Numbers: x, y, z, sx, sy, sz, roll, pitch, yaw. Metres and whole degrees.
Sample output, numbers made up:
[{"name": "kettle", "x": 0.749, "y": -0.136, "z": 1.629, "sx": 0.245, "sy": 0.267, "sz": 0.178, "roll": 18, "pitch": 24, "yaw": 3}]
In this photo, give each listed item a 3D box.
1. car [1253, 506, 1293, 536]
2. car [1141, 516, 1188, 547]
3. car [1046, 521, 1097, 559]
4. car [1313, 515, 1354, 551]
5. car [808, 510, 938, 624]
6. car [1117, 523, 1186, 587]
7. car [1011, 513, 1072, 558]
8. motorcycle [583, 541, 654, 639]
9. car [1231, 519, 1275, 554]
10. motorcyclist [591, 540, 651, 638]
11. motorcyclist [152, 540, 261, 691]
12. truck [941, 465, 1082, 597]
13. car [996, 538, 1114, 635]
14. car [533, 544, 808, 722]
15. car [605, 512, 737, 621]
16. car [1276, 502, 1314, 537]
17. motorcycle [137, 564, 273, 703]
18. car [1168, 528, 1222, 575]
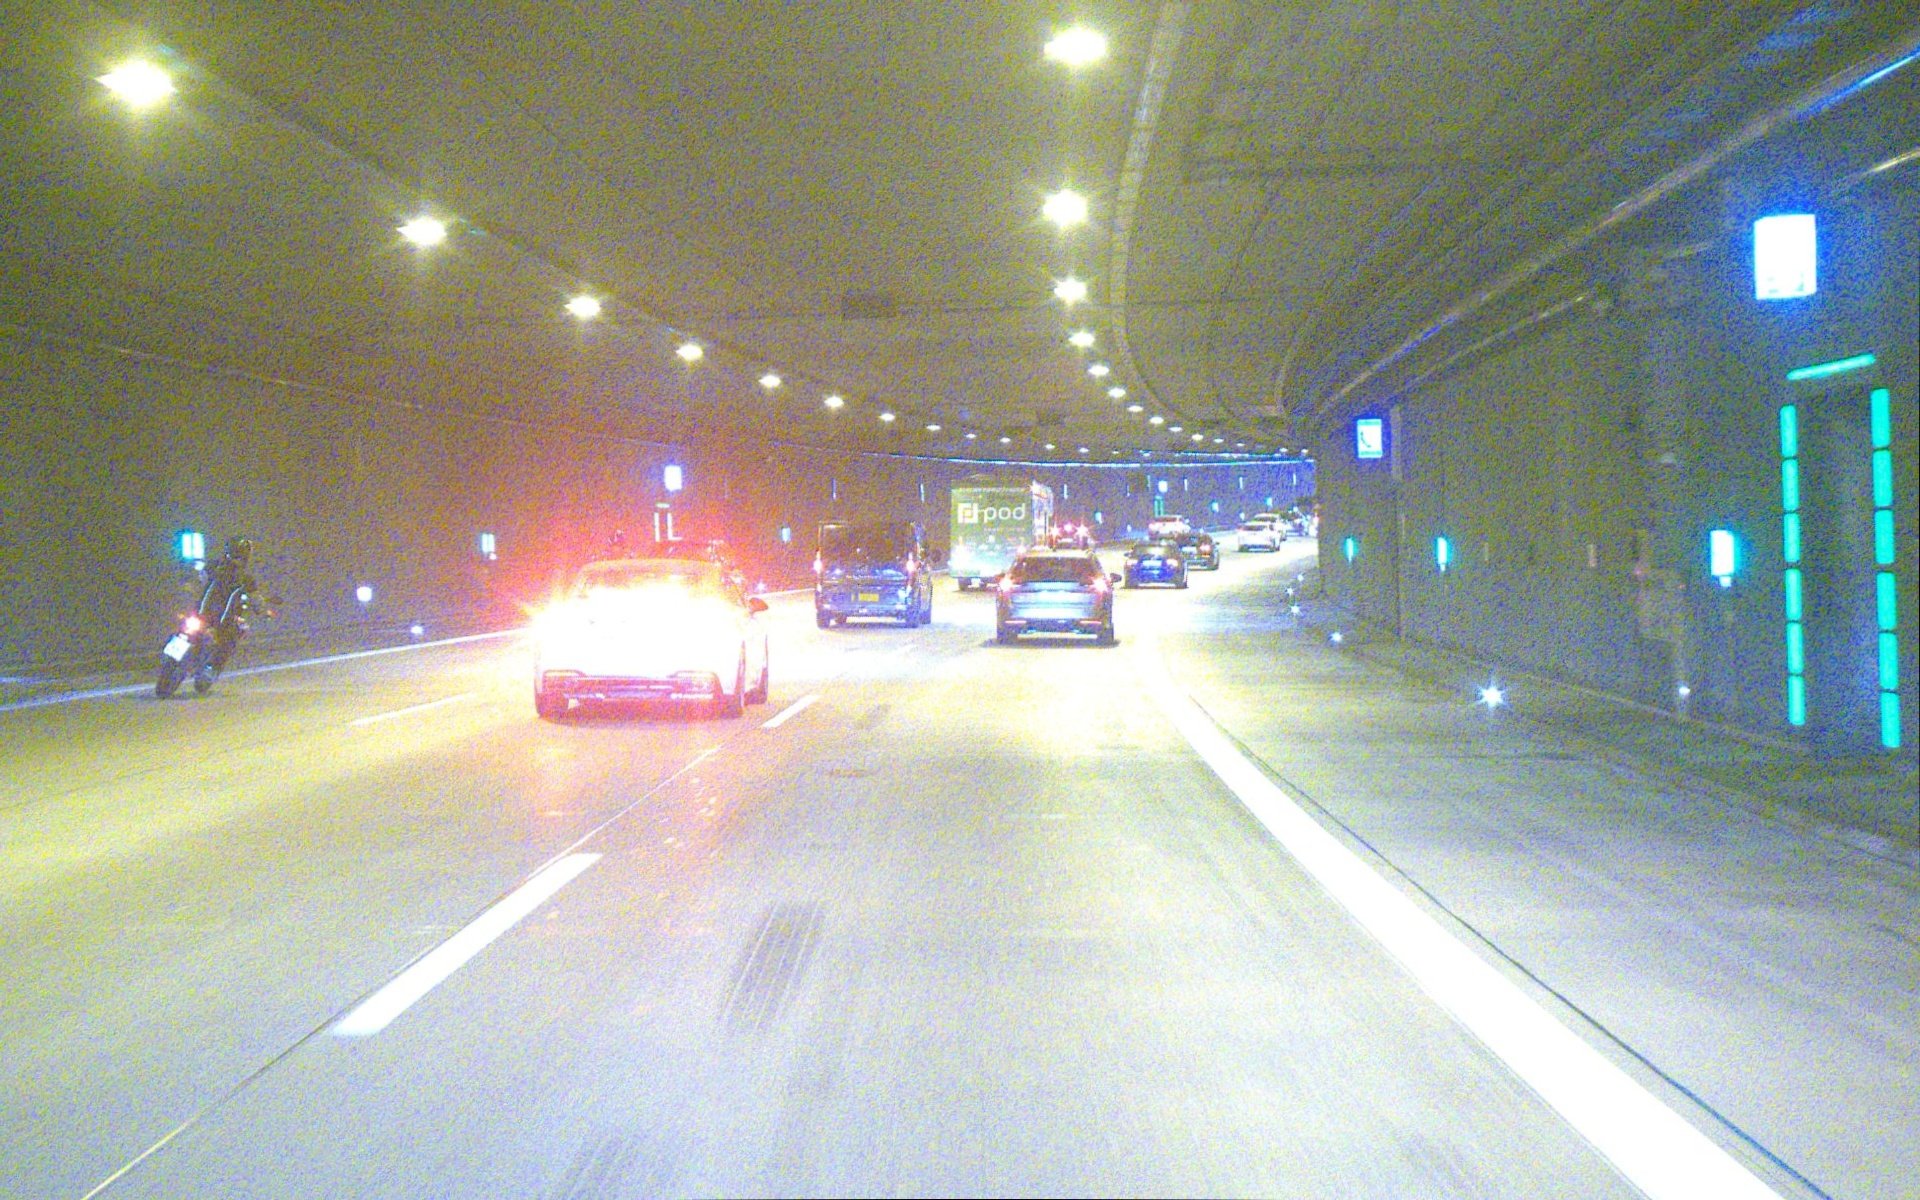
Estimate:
[{"name": "car", "x": 17.358, "y": -4.362, "z": 190.520, "sx": 1.994, "sy": 1.626, "sz": 3.999, "roll": 0, "pitch": 0, "yaw": 7}, {"name": "car", "x": 10.980, "y": -3.660, "z": 184.616, "sx": 1.931, "sy": 1.637, "sz": 3.998, "roll": 0, "pitch": 0, "yaw": 12}, {"name": "car", "x": 4.916, "y": -2.610, "z": 150.775, "sx": 1.931, "sy": 1.637, "sz": 3.999, "roll": 1, "pitch": 1, "yaw": 6}, {"name": "car", "x": 21.844, "y": -3.900, "z": 200.785, "sx": 1.994, "sy": 2.007, "sz": 3.998, "roll": 0, "pitch": 0, "yaw": 12}, {"name": "car", "x": -1.568, "y": -0.646, "z": 63.239, "sx": 1.910, "sy": 1.937, "sz": 3.871, "roll": 0, "pitch": 3, "yaw": 6}, {"name": "car", "x": 5.722, "y": -1.347, "z": 102.604, "sx": 1.857, "sy": 1.848, "sz": 3.999, "roll": 1, "pitch": 1, "yaw": 6}, {"name": "car", "x": 3.068, "y": -2.421, "z": 128.745, "sx": 1.994, "sy": 1.626, "sz": 3.999, "roll": 0, "pitch": 1, "yaw": 6}, {"name": "motorcycle", "x": -5.126, "y": -0.163, "z": 51.747, "sx": 0.926, "sy": 1.429, "sz": 2.964, "roll": 1, "pitch": 0, "yaw": -4}, {"name": "car", "x": 14.282, "y": -3.081, "z": 167.480, "sx": 1.931, "sy": 1.637, "sz": 3.999, "roll": 0, "pitch": 0, "yaw": 8}, {"name": "motorcyclist", "x": -5.076, "y": -0.166, "z": 51.589, "sx": 0.806, "sy": 1.443, "sz": 1.865, "roll": 0, "pitch": 0, "yaw": -3}, {"name": "motorcyclist", "x": -7.344, "y": 0.148, "z": 33.525, "sx": 0.777, "sy": 1.447, "sz": 1.069, "roll": 0, "pitch": 0, "yaw": 3}, {"name": "truck", "x": 1.566, "y": -1.967, "z": 99.446, "sx": 3.040, "sy": 3.661, "sz": 7.390, "roll": 1, "pitch": 1, "yaw": 9}, {"name": "car", "x": 1.522, "y": -0.186, "z": 53.916, "sx": 1.742, "sy": 1.459, "sz": 3.870, "roll": 0, "pitch": -1, "yaw": 3}, {"name": "car", "x": -2.576, "y": 0.245, "z": 31.731, "sx": 1.702, "sy": 1.414, "sz": 5.060, "roll": 0, "pitch": 2, "yaw": 5}, {"name": "car", "x": -5.493, "y": -0.645, "z": 65.781, "sx": 1.994, "sy": 2.007, "sz": 4.000, "roll": 1, "pitch": 1, "yaw": 3}, {"name": "car", "x": 20.036, "y": -4.801, "z": 205.429, "sx": 1.994, "sy": 2.007, "sz": 3.998, "roll": 0, "pitch": 0, "yaw": 9}, {"name": "motorcycle", "x": -7.348, "y": 0.301, "z": 33.545, "sx": 0.683, "sy": 1.292, "sz": 2.398, "roll": 0, "pitch": 1, "yaw": 3}, {"name": "car", "x": 8.950, "y": -1.822, "z": 130.632, "sx": 1.950, "sy": 1.766, "sz": 3.999, "roll": 0, "pitch": 0, "yaw": 5}]
